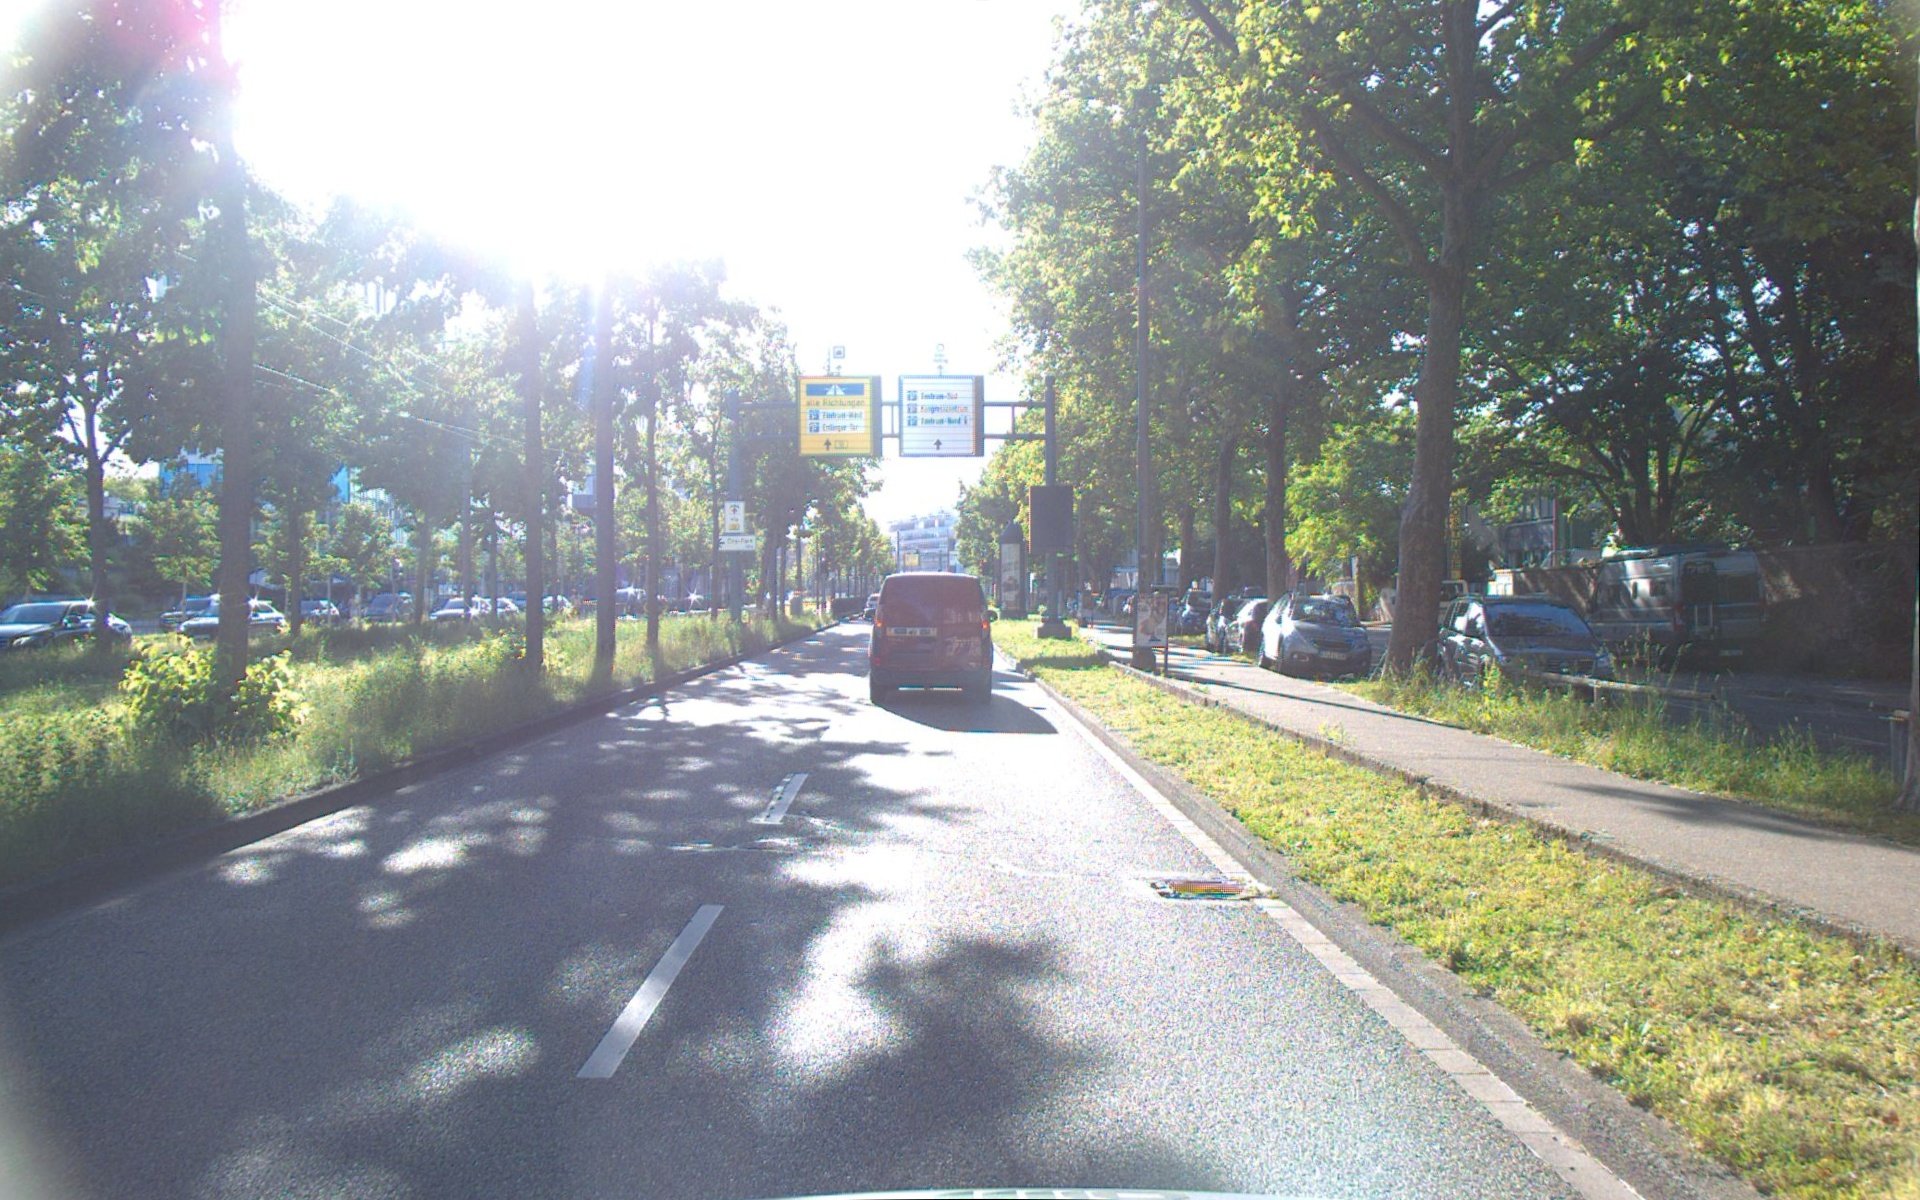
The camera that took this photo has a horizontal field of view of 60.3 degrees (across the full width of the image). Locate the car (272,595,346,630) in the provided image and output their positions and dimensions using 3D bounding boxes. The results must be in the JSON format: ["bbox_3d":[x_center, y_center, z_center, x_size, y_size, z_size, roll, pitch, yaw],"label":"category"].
[{"bbox_3d":[-32.701,0.612,83.190,1.841,1.649,4.610,1,0,0],"label":"car"}]

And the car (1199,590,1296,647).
[{"bbox_3d":[7.781,0.482,45.136,1.952,1.405,4.678,2,0,2],"label":"car"}]

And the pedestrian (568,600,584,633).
[{"bbox_3d":[-17.927,0.778,77.221,0.538,1.545,0.589,1,-1,4],"label":"pedestrian"}]

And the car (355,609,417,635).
[{"bbox_3d":[-32.543,1.233,93.941,1.873,1.348,4.610,1,0,0],"label":"car"}]

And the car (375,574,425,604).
[{"bbox_3d":[-40.388,-0.794,119.377,1.953,2.049,4.563,2,0,0],"label":"car"}]

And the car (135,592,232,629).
[{"bbox_3d":[-32.349,0.426,69.029,1.841,1.460,4.610,1,0,0],"label":"car"}]

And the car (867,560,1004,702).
[{"bbox_3d":[-0.436,0.428,24.376,1.773,1.870,3.997,1,0,-4],"label":"car"}]

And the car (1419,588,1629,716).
[{"bbox_3d":[8.190,0.709,24.450,1.755,1.663,4.628,1,0,4],"label":"car"}]

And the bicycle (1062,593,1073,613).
[{"bbox_3d":[5.946,0.156,91.187,0.483,1.065,1.904,1,0,1],"label":"bicycle"}]

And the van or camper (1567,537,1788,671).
[{"bbox_3d":[16.290,0.060,38.070,2.503,2.731,6.568,-2,0,4],"label":"van or camper"}]

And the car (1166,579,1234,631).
[{"bbox_3d":[8.149,0.164,56.415,1.701,1.670,4.352,1,0,0],"label":"car"}]

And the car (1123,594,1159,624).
[{"bbox_3d":[9.566,0.493,87.748,1.627,1.527,2.990,1,0,2],"label":"car"}]

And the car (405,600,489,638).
[{"bbox_3d":[-21.074,0.770,68.101,1.952,1.466,4.457,1,0,1],"label":"car"}]

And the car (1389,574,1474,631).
[{"bbox_3d":[17.512,0.083,61.643,2.043,2.049,4.945,0,0,4],"label":"car"}]

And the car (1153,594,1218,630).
[{"bbox_3d":[8.659,0.452,63.692,1.953,1.312,4.053,1,0,0],"label":"car"}]

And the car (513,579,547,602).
[{"bbox_3d":[-39.524,-0.876,152.119,1.953,2.049,4.563,1,0,0],"label":"car"}]

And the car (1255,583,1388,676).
[{"bbox_3d":[6.946,0.550,32.154,1.756,1.587,4.021,3,0,2],"label":"car"}]

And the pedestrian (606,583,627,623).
[{"bbox_3d":[-16.417,0.146,79.023,0.804,1.868,0.726,1,-1,-4],"label":"pedestrian"}]

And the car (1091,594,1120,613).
[{"bbox_3d":[11.418,0.293,130.128,1.833,1.391,3.999,1,0,-1],"label":"car"}]

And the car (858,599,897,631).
[{"bbox_3d":[-4.426,0.813,89.410,1.953,1.646,3.999,1,0,-1],"label":"car"}]

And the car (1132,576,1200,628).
[{"bbox_3d":[8.649,0.091,69.994,2.145,2.049,5.820,1,0,0],"label":"car"}]

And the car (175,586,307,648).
[{"bbox_3d":[-22.698,0.496,52.464,1.953,1.873,5.249,0,0,-1],"label":"car"}]

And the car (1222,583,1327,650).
[{"bbox_3d":[7.365,0.373,39.082,1.756,1.463,3.884,1,0,1],"label":"car"}]

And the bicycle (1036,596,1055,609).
[{"bbox_3d":[8.552,0.212,166.362,1.878,1.290,0.479,0,0,0],"label":"bicycle"}]

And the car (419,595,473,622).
[{"bbox_3d":[-32.564,0.542,104.867,1.953,1.636,4.610,1,0,0],"label":"car"}]

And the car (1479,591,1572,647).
[{"bbox_3d":[16.430,0.544,48.214,1.655,1.498,3.760,-2,0,4],"label":"car"}]

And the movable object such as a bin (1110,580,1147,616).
[{"bbox_3d":[9.949,-0.103,98.056,2.038,2.049,2.137,1,0,3],"label":"movable object such as a bin"}]
